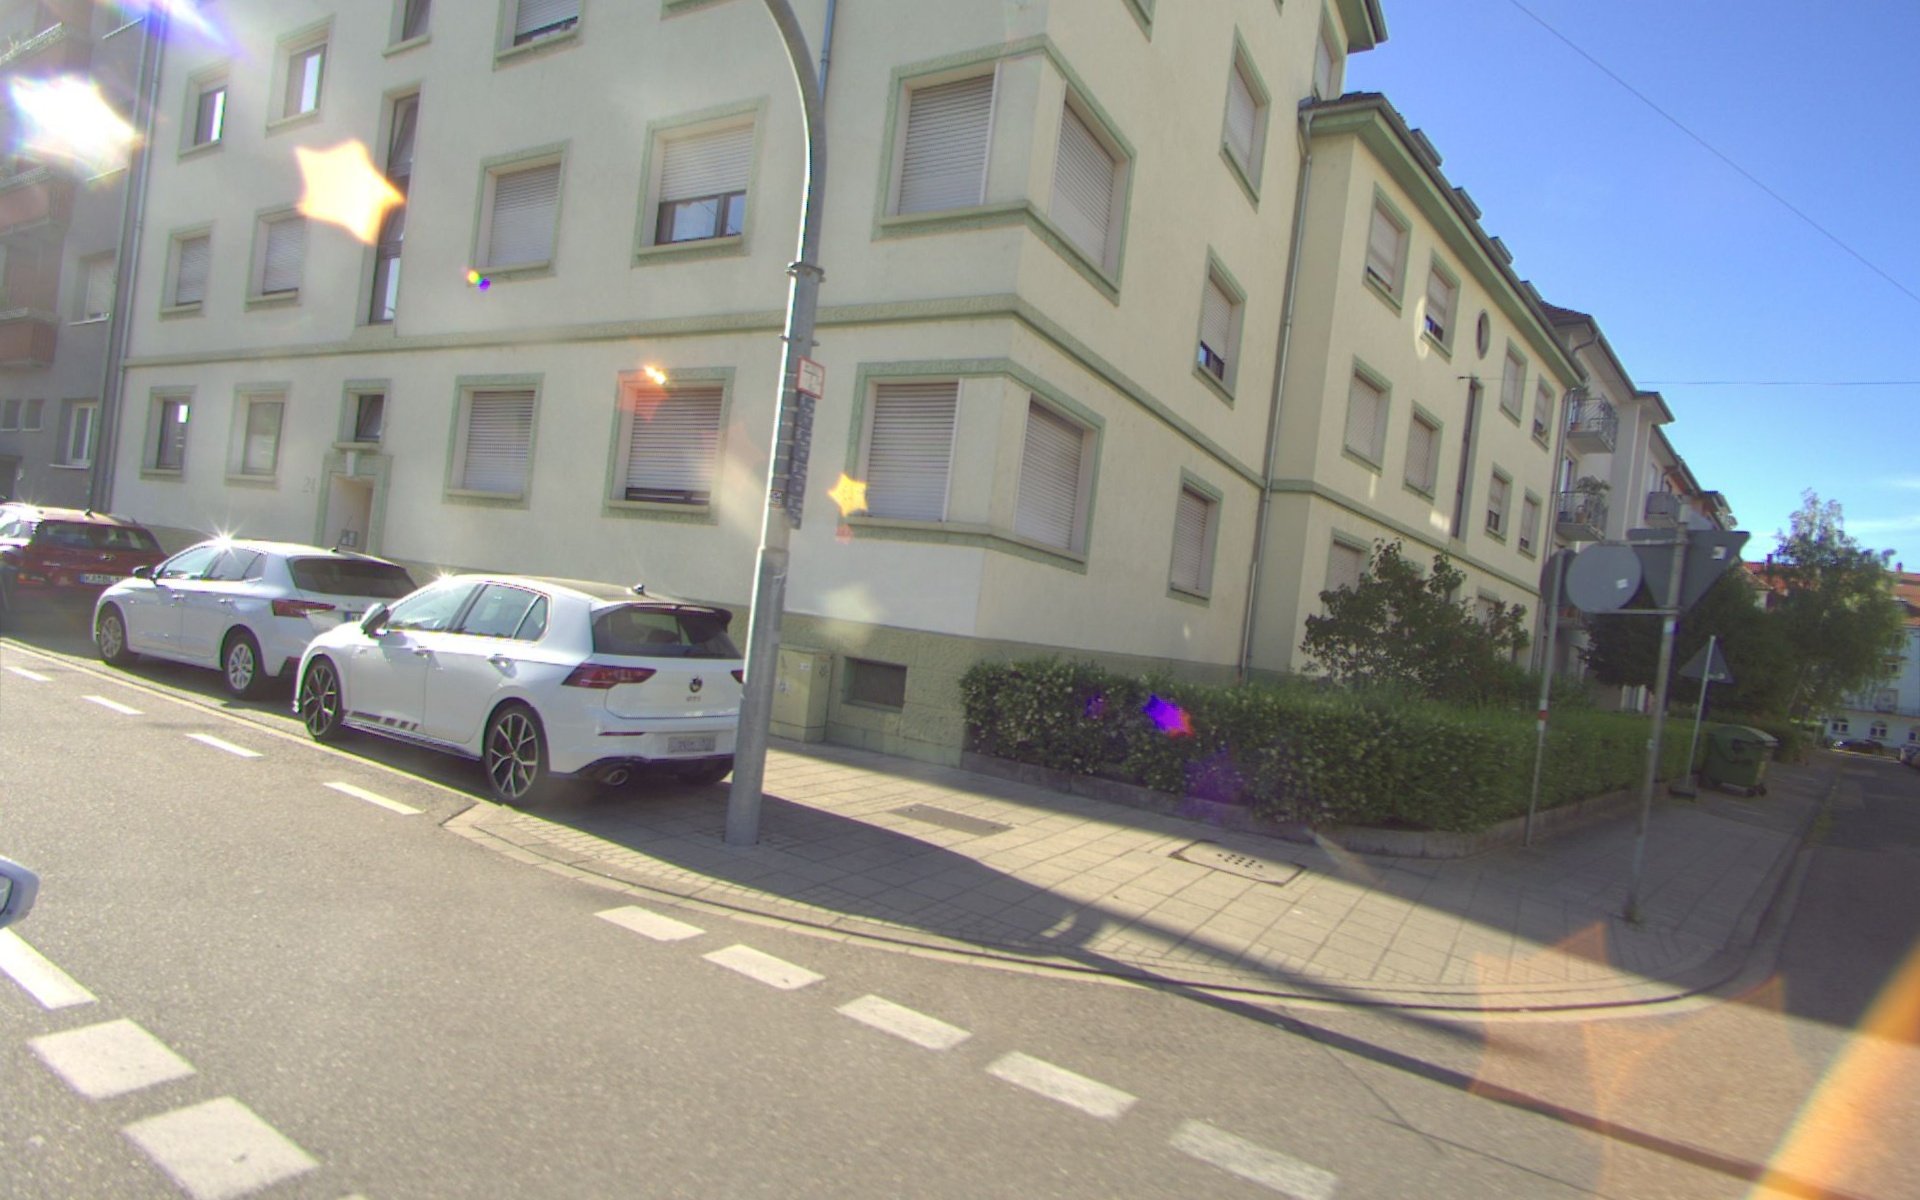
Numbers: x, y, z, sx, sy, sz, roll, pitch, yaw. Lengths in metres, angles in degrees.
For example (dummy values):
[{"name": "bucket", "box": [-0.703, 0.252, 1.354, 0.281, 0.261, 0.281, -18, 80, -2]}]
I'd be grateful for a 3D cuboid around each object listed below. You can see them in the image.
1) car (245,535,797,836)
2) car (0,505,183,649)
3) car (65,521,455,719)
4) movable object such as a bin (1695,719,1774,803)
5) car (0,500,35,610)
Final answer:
[{"name": "car", "box": [-3.518, 0.495, 7.783, 4.307, 1.476, 1.696, 7, 0, 32]}, {"name": "car", "box": [-12.323, -0.403, 13.473, 4.119, 1.536, 1.637, 7, 0, 32]}, {"name": "car", "box": [-7.436, 0.161, 10.617, 4.011, 1.476, 1.639, 7, 0, 28]}, {"name": "movable object such as a bin", "box": [16.588, 3.444, 21.550, 1.176, 1.575, 1.058, 7, -3, 40]}, {"name": "car", "box": [-16.886, -0.930, 16.207, 4.299, 1.669, 1.637, 7, 2, 30]}]
